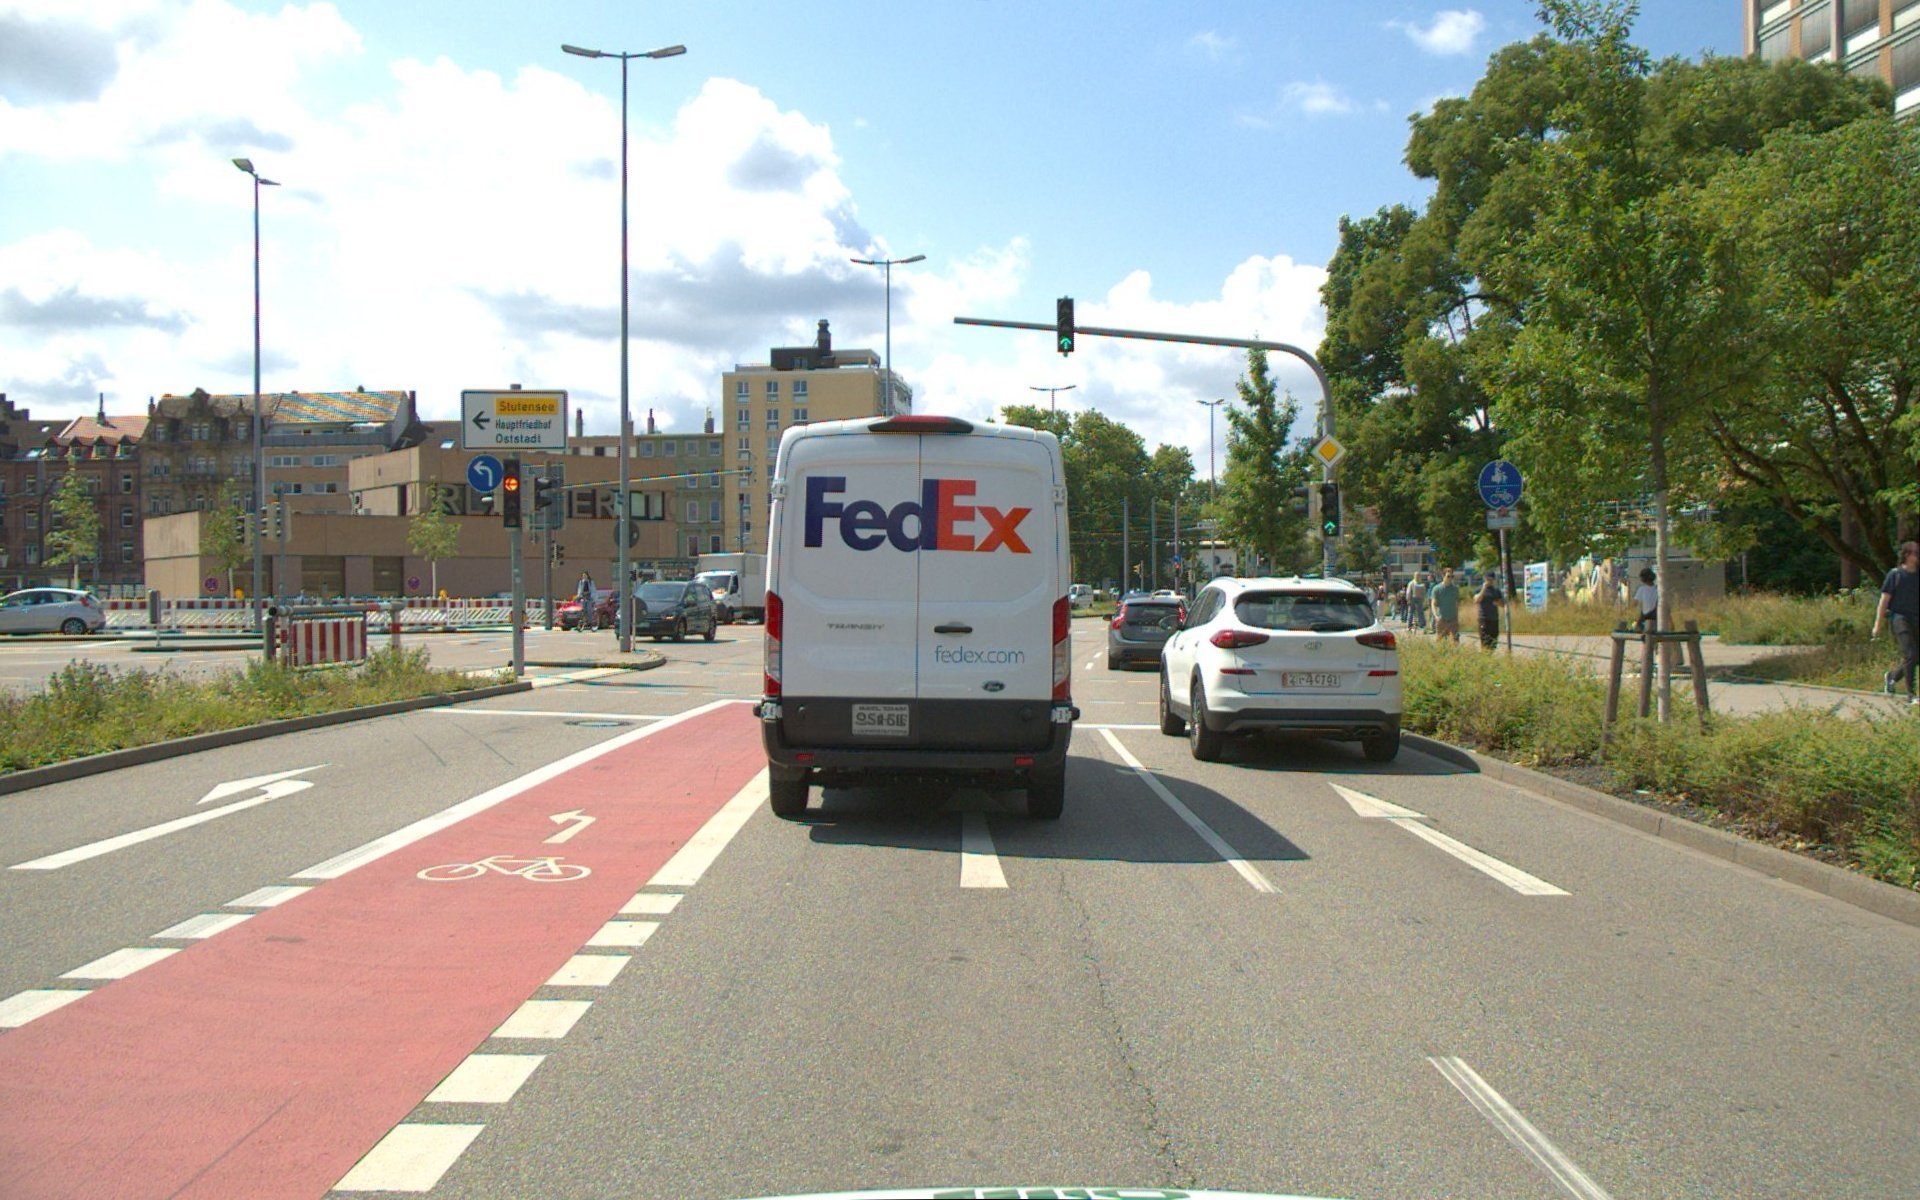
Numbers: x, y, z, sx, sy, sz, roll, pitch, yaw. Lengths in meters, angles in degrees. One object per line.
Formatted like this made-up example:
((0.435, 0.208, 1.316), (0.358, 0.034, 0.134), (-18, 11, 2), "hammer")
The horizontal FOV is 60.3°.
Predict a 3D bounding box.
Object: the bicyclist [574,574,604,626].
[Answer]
((-12.014, -0.006, 53.598), (0.760, 1.647, 0.843), (-1, 0, 1), "bicyclist")

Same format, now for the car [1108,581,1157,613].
((8.598, -0.151, 82.302), (1.841, 1.532, 4.159), (1, 1, 14), "car")

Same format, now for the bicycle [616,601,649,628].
((-11.416, 0.497, 57.716), (0.555, 0.905, 1.745), (-1, 1, 9), "bicycle")

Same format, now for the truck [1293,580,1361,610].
((36.210, -0.526, 162.962), (2.842, 2.902, 8.744), (0, 0, 41), "truck")

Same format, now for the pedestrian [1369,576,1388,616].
((19.462, -0.198, 76.951), (0.740, 1.853, 0.638), (1, -1, 7), "pedestrian")

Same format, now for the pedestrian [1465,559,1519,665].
((9.131, 0.208, 28.400), (0.654, 1.777, 0.608), (-2, 0, -7), "pedestrian")

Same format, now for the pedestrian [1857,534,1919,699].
((10.510, 0.166, 18.326), (0.734, 1.780, 0.667), (-2, 0, -2), "pedestrian")

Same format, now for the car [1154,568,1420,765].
((3.051, 0.545, 16.297), (1.842, 1.670, 4.233), (-1, 1, 1), "car")

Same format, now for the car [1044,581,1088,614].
((6.754, -0.131, 105.195), (1.951, 2.049, 4.125), (1, 0, 16), "car")

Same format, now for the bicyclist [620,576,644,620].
((-11.431, -0.075, 57.665), (0.553, 1.487, 0.838), (-1, 0, 9), "bicyclist")

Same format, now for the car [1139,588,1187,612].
((17.483, 0.014, 142.223), (3.987, 1.959, 1.811), (1, 0, 11), "car")

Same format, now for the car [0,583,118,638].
((-26.817, 0.300, 47.953), (3.940, 1.534, 1.991), (1, 0, -17), "car")

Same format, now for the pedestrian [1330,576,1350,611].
((17.568, -0.297, 76.382), (0.740, 1.617, 0.761), (1, -1, 1), "pedestrian")

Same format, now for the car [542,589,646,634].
((-13.180, 0.398, 59.777), (1.951, 1.512, 3.908), (-1, 1, 17), "car")

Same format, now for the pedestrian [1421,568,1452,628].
((14.346, -0.066, 49.780), (0.734, 1.783, 0.610), (-2, 0, 5), "pedestrian")

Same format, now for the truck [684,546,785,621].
((-9.845, -0.662, 73.036), (1.951, 3.121, 7.336), (1, 0, 13), "truck")

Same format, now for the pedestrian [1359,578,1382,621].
((18.573, -0.019, 74.881), (0.740, 1.853, 0.780), (-4, -1, 1), "pedestrian")

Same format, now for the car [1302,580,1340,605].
((24.623, -0.515, 112.809), (1.843, 1.670, 3.956), (0, 1, 23), "car")

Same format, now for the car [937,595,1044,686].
((0.546, 0.646, 28.567), (1.705, 1.416, 4.181), (-1, 1, 2), "car")

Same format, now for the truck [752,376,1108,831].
((-0.260, 0.017, 12.784), (2.094, 2.686, 5.915), (1, 0, -2), "truck")

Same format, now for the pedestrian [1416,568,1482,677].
((8.354, 0.372, 28.293), (0.735, 1.808, 0.880), (-2, 0, -7), "pedestrian")

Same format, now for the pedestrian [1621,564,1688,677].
((10.253, 0.292, 24.429), (0.653, 1.624, 0.647), (-2, 0, -2), "pedestrian")

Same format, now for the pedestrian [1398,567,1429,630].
((13.551, -0.044, 49.464), (0.734, 1.834, 0.610), (-2, 0, 5), "pedestrian")

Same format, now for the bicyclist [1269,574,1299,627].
((10.219, 0.015, 52.197), (0.810, 1.629, 0.580), (-3, -1, 5), "bicyclist")

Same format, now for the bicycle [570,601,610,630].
((-12.005, 0.495, 53.658), (0.760, 0.905, 2.109), (-1, 1, 1), "bicycle")

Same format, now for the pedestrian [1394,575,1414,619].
((19.147, -0.128, 71.287), (0.740, 1.853, 0.674), (1, -1, 8), "pedestrian")

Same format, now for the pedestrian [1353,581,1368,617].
((18.658, -0.056, 77.139), (0.575, 1.654, 0.728), (1, -1, 7), "pedestrian")

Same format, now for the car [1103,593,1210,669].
((4.036, 0.601, 34.477), (1.875, 1.444, 3.919), (-1, 1, 2), "car")

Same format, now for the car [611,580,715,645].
((-7.989, 0.301, 44.846), (1.842, 1.652, 4.157), (0, 1, 3), "car")
